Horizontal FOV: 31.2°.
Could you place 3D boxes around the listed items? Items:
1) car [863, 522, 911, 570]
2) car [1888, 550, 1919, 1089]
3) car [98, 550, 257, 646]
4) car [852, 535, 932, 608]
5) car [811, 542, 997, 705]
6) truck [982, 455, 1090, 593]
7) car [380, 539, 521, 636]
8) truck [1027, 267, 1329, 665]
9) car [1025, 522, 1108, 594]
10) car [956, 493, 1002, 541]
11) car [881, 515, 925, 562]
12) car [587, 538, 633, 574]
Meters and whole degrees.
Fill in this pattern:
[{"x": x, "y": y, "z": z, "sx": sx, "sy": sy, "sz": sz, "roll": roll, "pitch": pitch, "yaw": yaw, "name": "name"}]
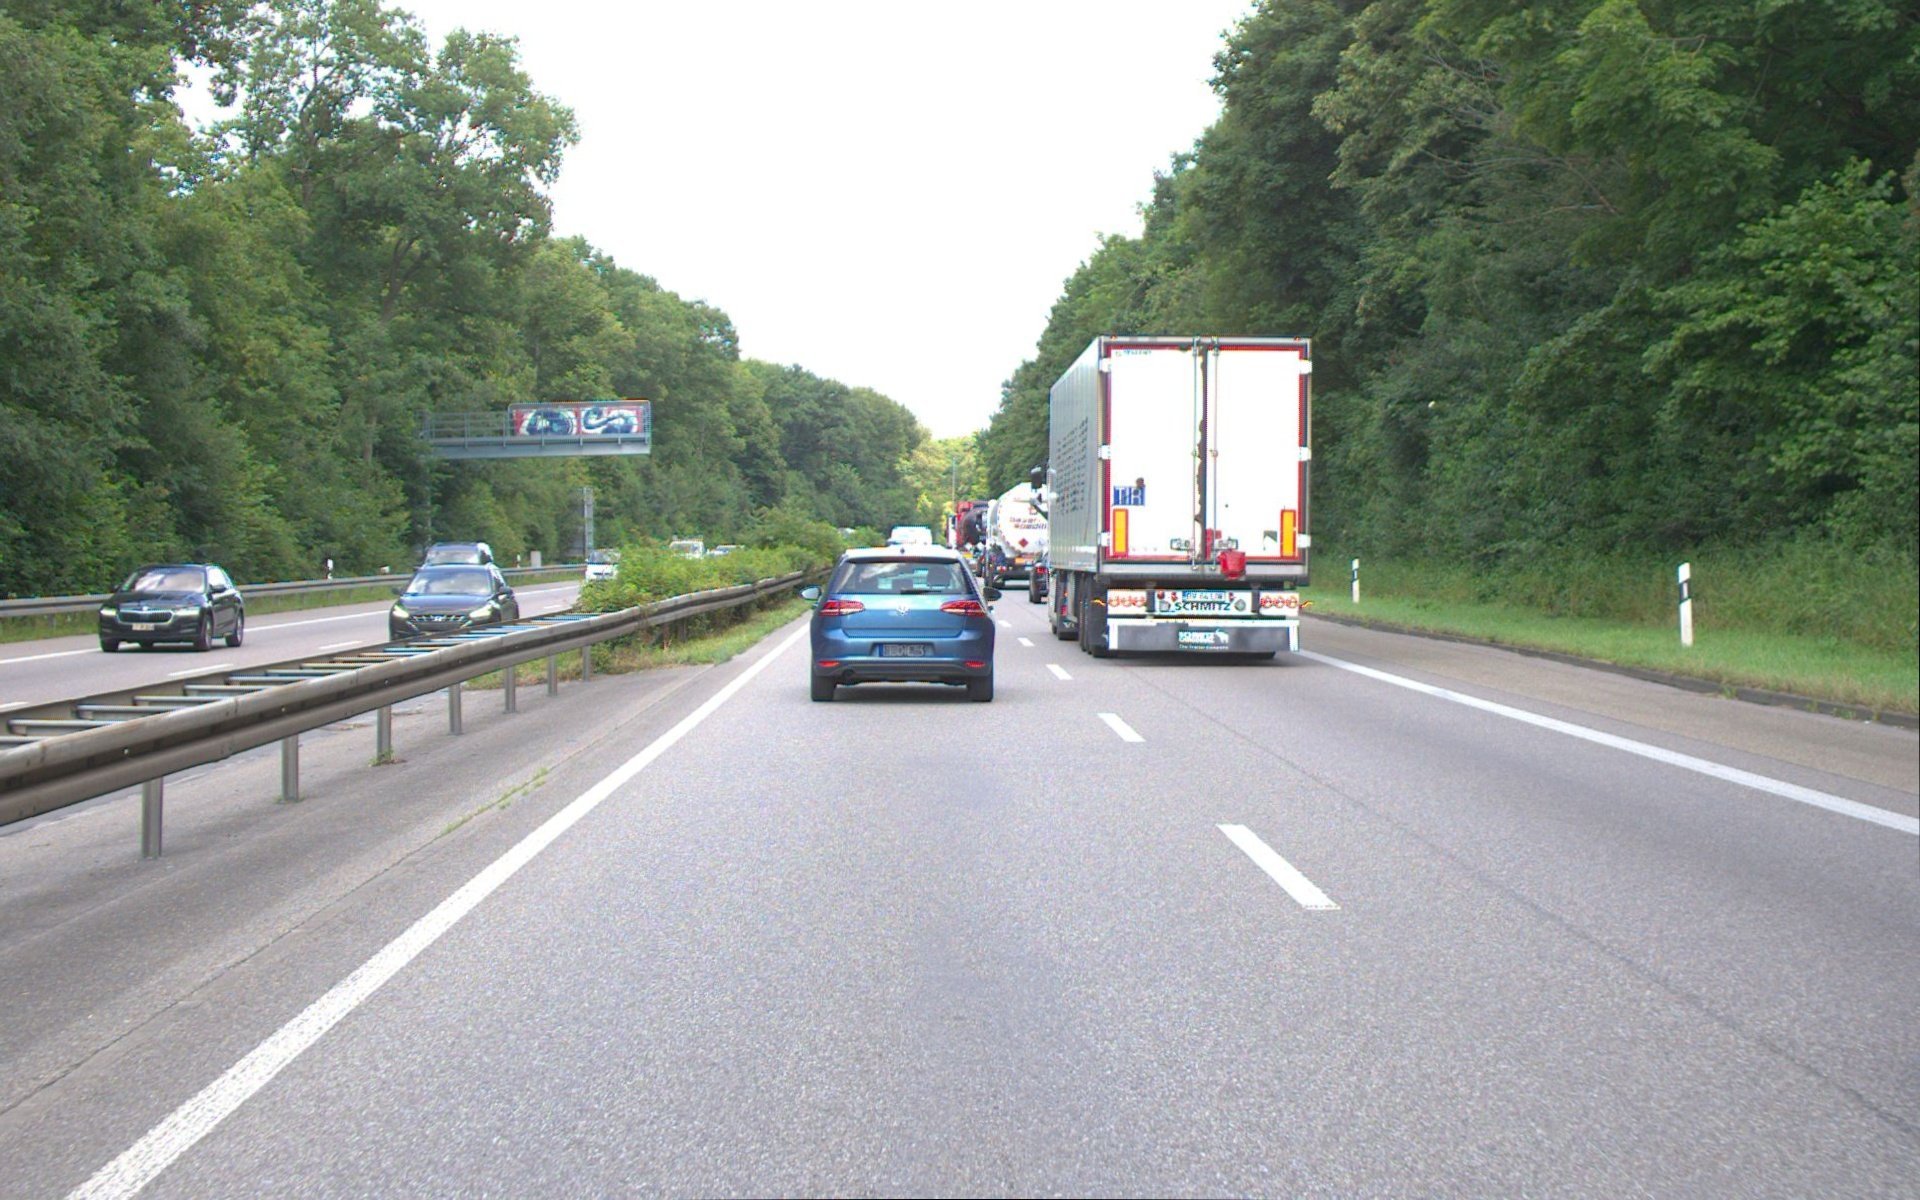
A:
[{"x": -3.128, "y": -2.325, "z": 147.652, "sx": 1.993, "sy": 2.007, "sz": 4.000, "roll": -1, "pitch": 1, "yaw": -1, "name": "car"}, {"x": 3.552, "y": 0.651, "z": 7.247, "sx": 1.774, "sy": 1.470, "sz": 4.881, "roll": 0, "pitch": 1, "yaw": -1, "name": "car"}, {"x": -13.325, "y": -0.074, "z": 58.815, "sx": 1.680, "sy": 1.514, "sz": 4.859, "roll": -1, "pitch": 1, "yaw": -1, "name": "car"}, {"x": -1.430, "y": -0.633, "z": 73.607, "sx": 1.665, "sy": 1.495, "sz": 4.152, "roll": 0, "pitch": 1, "yaw": 0, "name": "car"}, {"x": -0.557, "y": 0.181, "z": 33.562, "sx": 1.705, "sy": 1.465, "sz": 4.000, "roll": 0, "pitch": 1, "yaw": -1, "name": "car"}, {"x": 2.447, "y": -2.475, "z": 115.109, "sx": 3.232, "sy": 4.371, "sz": 12.971, "roll": 0, "pitch": 1, "yaw": 0, "name": "truck"}, {"x": -8.535, "y": -0.236, "z": 57.886, "sx": 1.781, "sy": 1.514, "sz": 4.267, "roll": -1, "pitch": 1, "yaw": -1, "name": "car"}, {"x": 2.718, "y": -1.737, "z": 46.673, "sx": 3.242, "sy": 4.699, "sz": 11.008, "roll": -1, "pitch": 1, "yaw": 0, "name": "truck"}, {"x": 2.640, "y": -1.077, "z": 86.227, "sx": 1.888, "sy": 1.723, "sz": 4.000, "roll": -1, "pitch": 1, "yaw": 0, "name": "car"}, {"x": 0.918, "y": -4.155, "z": 171.556, "sx": 1.993, "sy": 2.319, "sz": 4.443, "roll": -1, "pitch": 1, "yaw": -3, "name": "car"}, {"x": -2.831, "y": -3.070, "z": 170.426, "sx": 1.993, "sy": 2.247, "sz": 4.443, "roll": -1, "pitch": 1, "yaw": -3, "name": "car"}, {"x": -14.234, "y": -1.806, "z": 139.811, "sx": 1.537, "sy": 1.391, "sz": 3.511, "roll": -1, "pitch": 1, "yaw": -1, "name": "car"}]
